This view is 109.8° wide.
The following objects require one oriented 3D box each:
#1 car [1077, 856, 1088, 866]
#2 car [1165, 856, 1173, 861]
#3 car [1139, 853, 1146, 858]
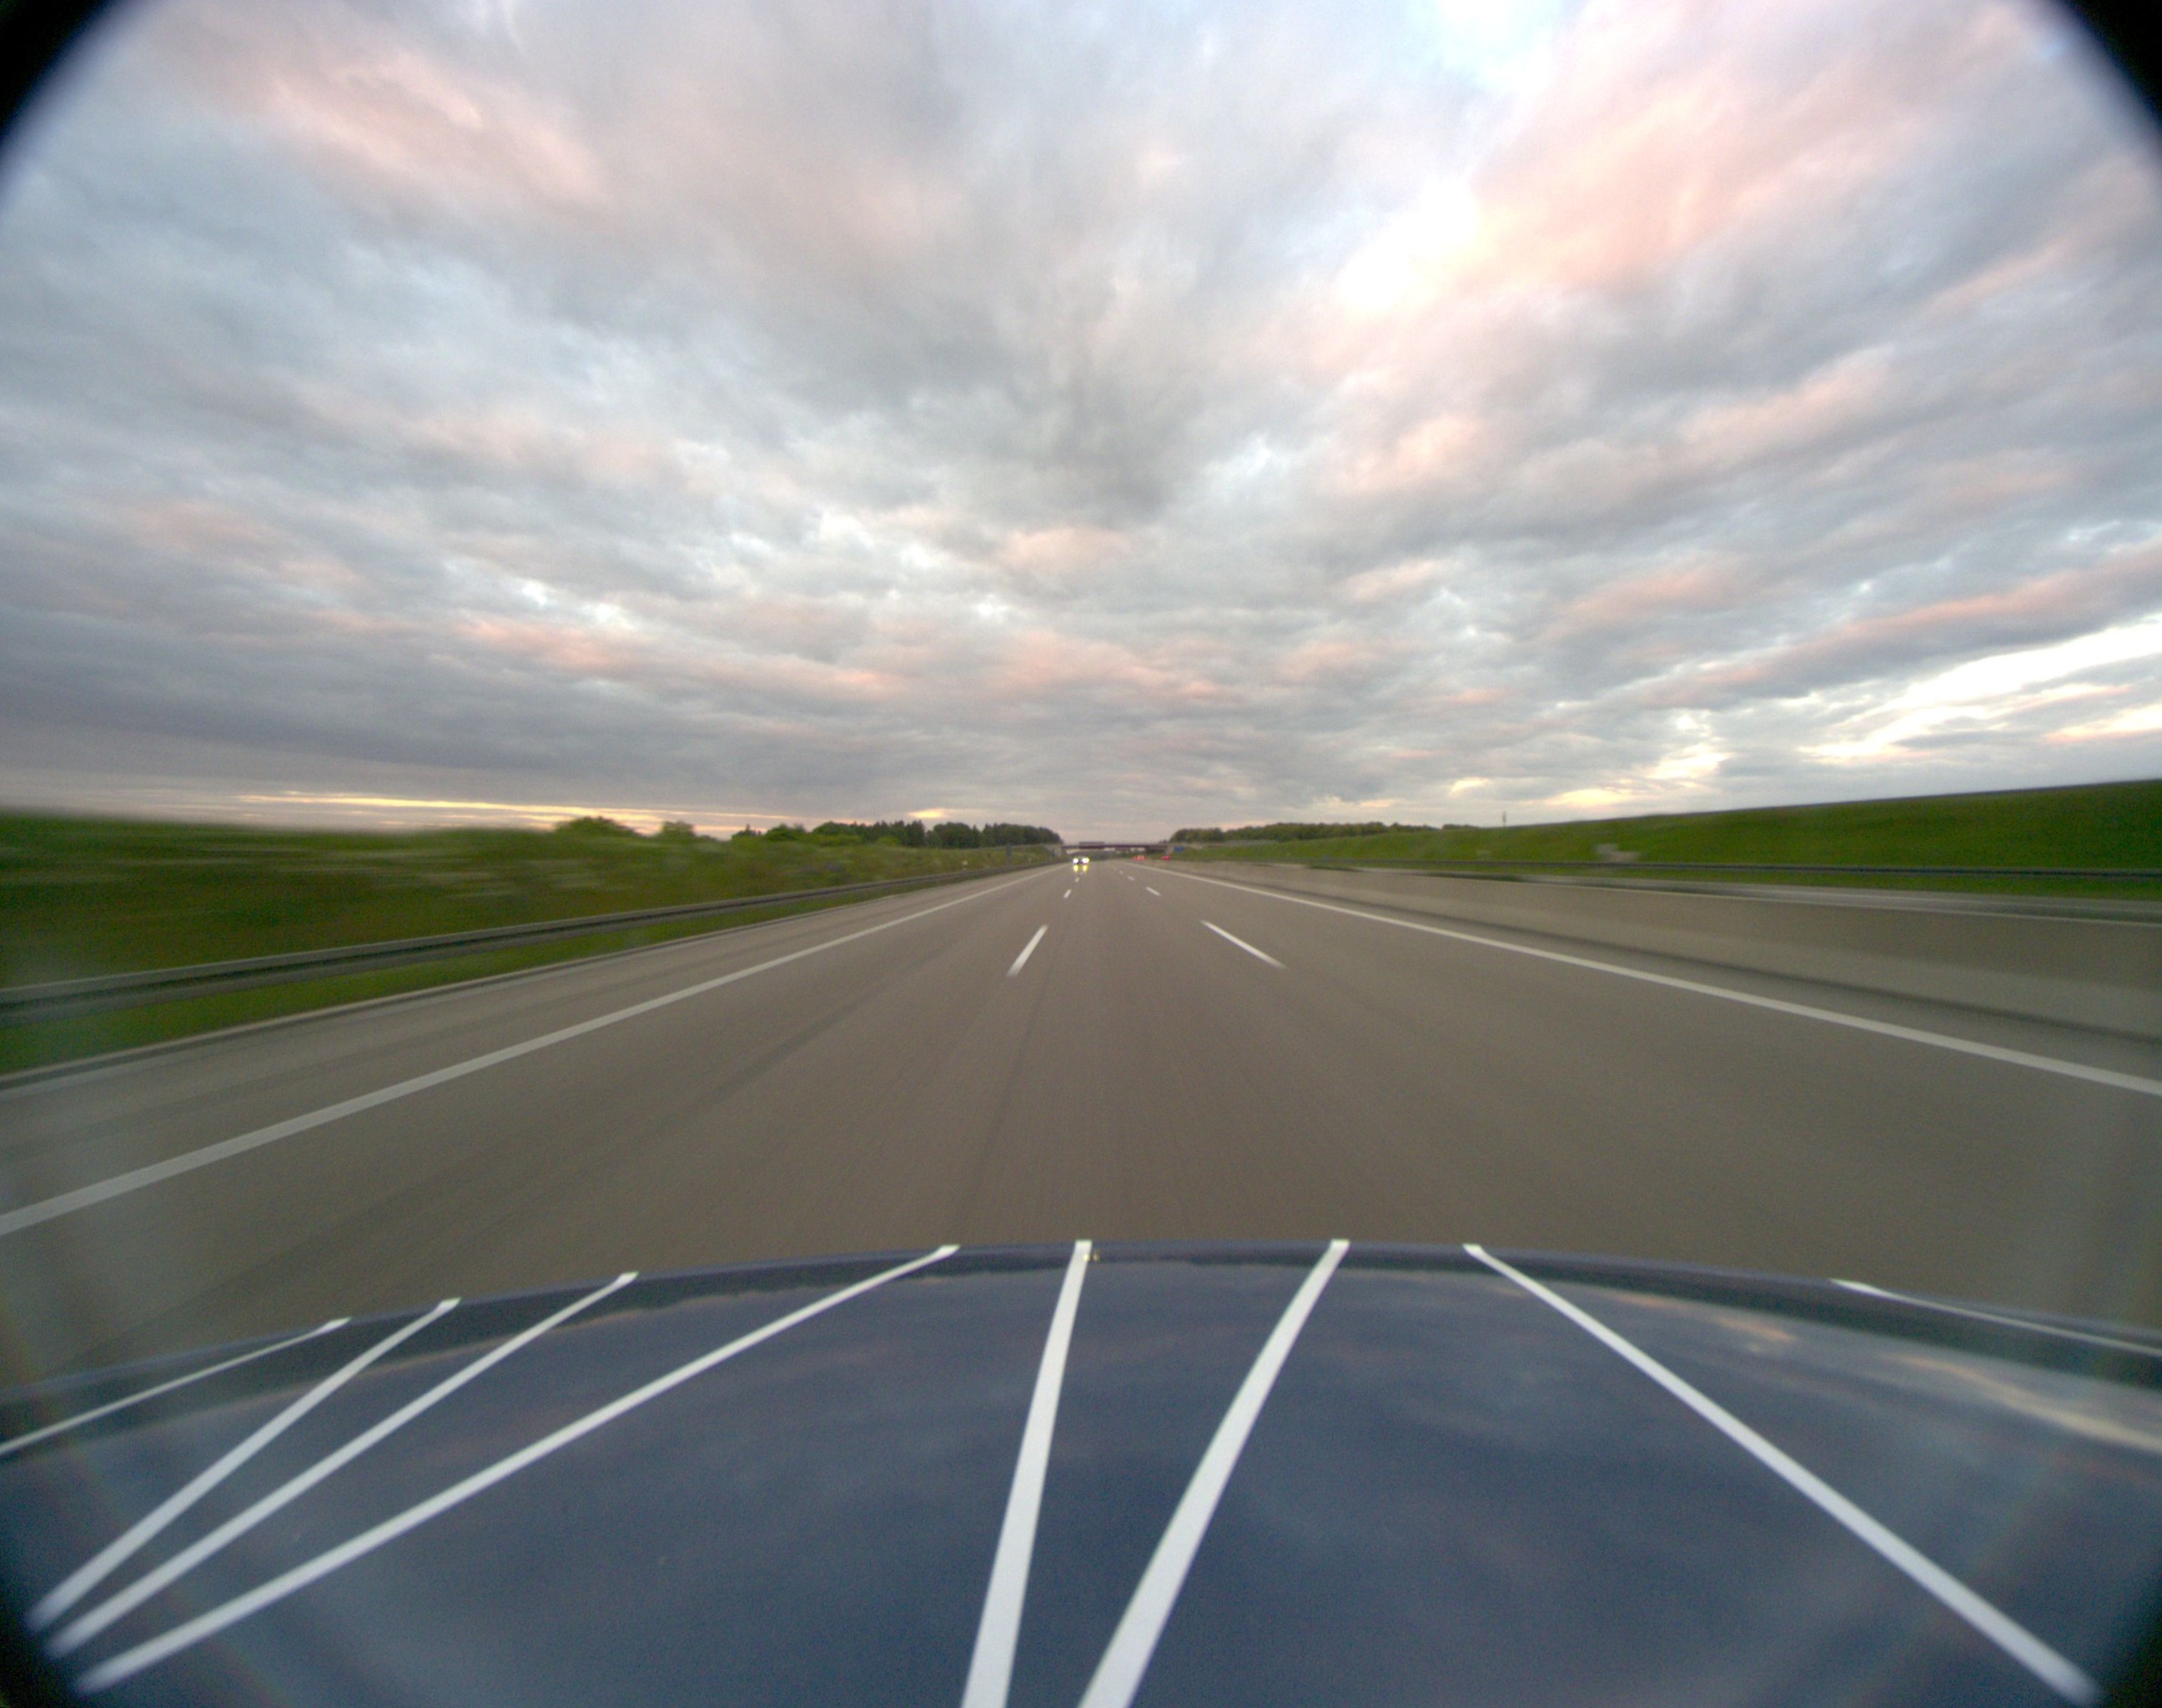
[{"bbox_3d":[0.212,1.153,131.007,1.801,1.674,4.385,-1,1,1],"label":"car"},{"bbox_3d":[23.871,1.180,206.145,1.743,1.384,4.343,-1,0,1],"label":"car"},{"bbox_3d":[19.717,0.428,243.274,1.998,1.725,5.182,-1,0,0],"label":"car"}]
